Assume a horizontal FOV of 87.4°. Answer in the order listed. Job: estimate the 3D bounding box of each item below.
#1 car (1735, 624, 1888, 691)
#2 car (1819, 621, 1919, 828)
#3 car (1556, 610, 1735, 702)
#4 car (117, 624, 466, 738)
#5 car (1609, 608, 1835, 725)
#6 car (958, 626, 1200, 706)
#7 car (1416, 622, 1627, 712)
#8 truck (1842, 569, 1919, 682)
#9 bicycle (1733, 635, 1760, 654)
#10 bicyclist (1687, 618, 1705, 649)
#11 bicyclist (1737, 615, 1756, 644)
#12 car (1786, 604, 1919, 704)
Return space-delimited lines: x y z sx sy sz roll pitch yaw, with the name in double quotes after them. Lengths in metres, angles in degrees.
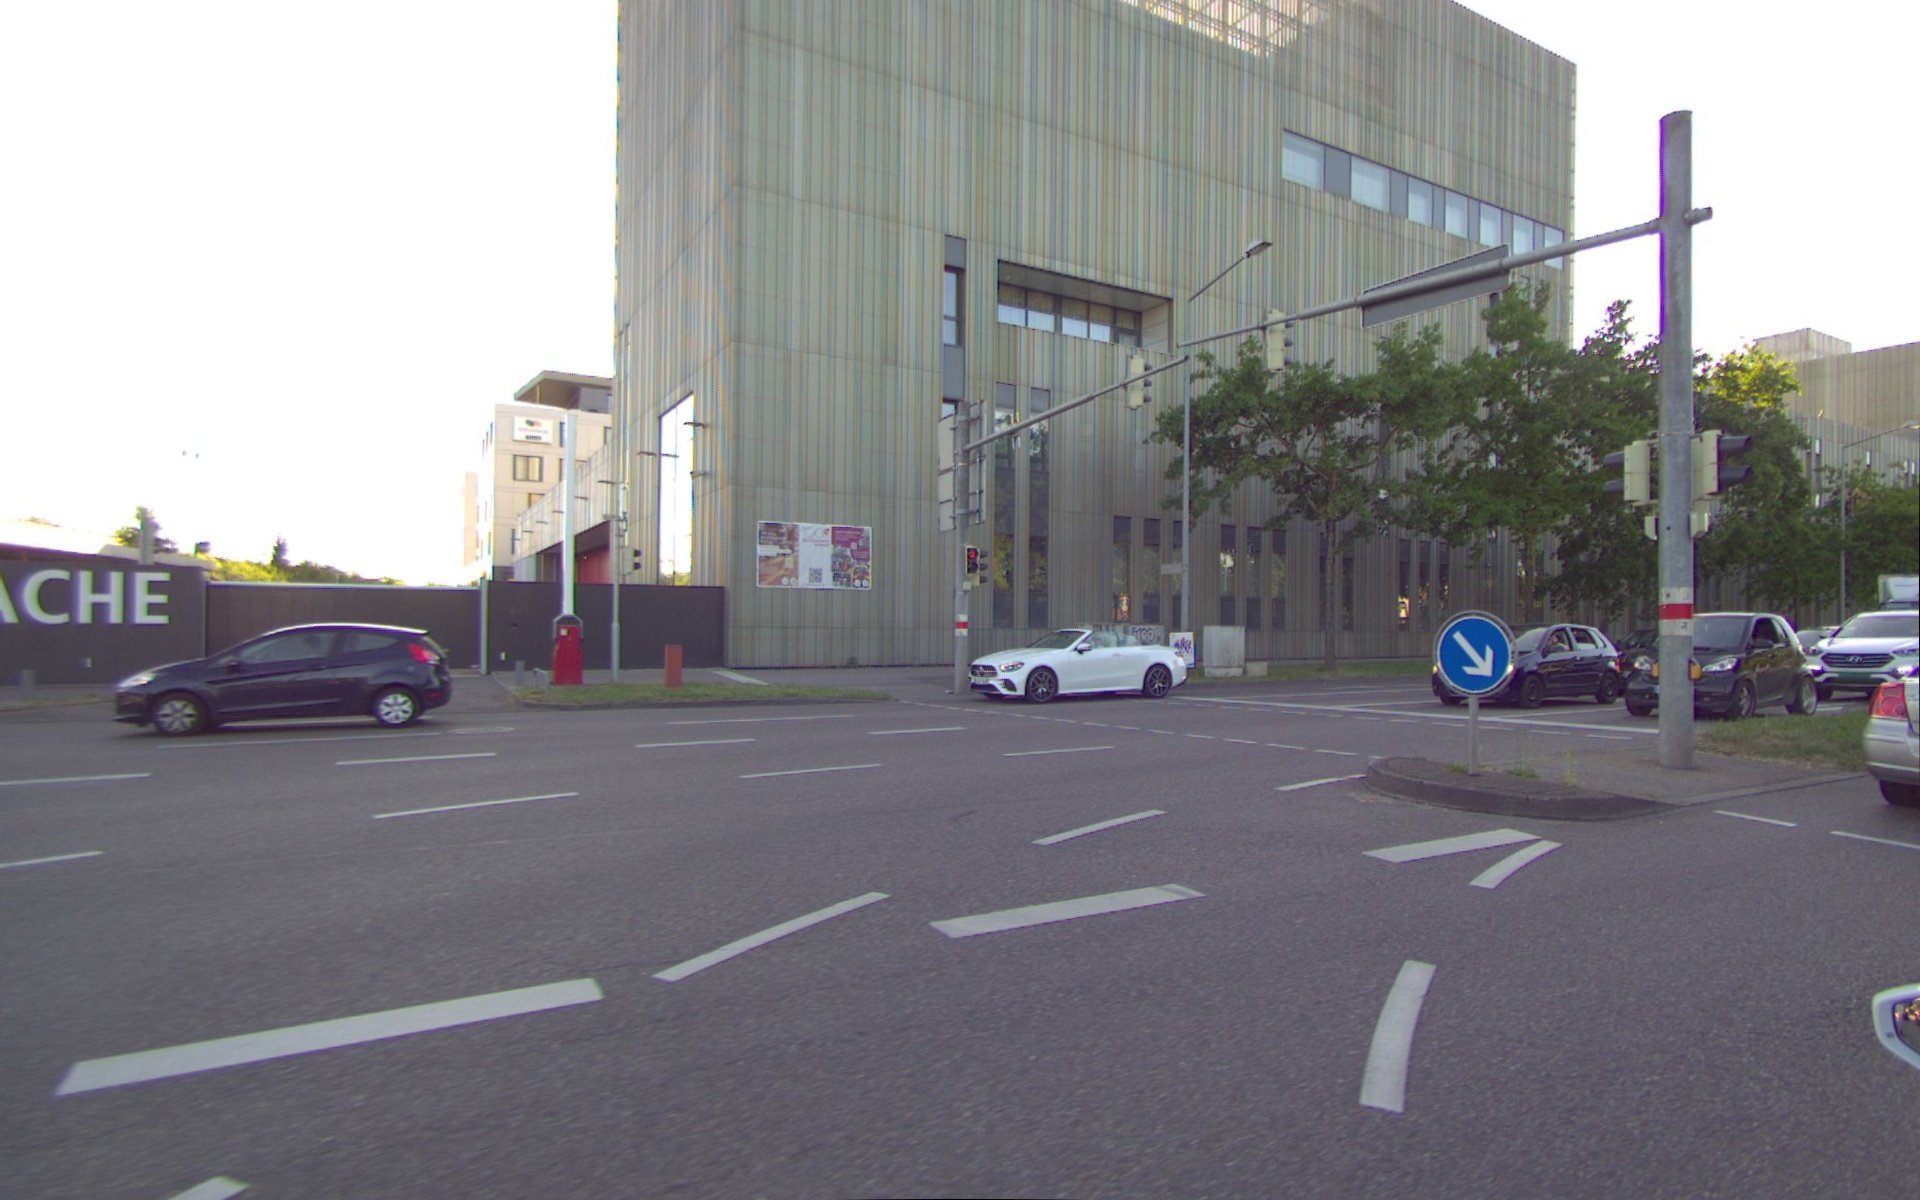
20.307 1.330 23.941 3.596 1.489 1.613 1 -3 -30 "car"
8.907 0.952 8.016 4.112 1.476 1.832 1 0 -30 "car"
14.336 1.151 20.978 3.831 1.778 1.616 2 -2 -30 "car"
-9.161 1.069 14.165 3.885 1.430 1.486 1 -2 -25 "car"
11.588 0.964 15.270 3.174 1.601 1.595 1 -2 -29 "car"
2.460 1.269 20.249 4.823 1.460 1.695 1 -2 -30 "car"
10.059 1.135 17.963 3.711 1.460 1.694 1 -2 -31 "car"
28.380 0.754 28.610 7.028 2.999 2.675 1 -3 -29 "truck"
39.557 2.222 50.517 1.734 0.902 0.509 1 -1 -31 "bicycle"
36.915 1.658 50.370 0.637 1.527 0.505 1 -1 -30 "bicyclist"
39.551 1.494 50.517 0.744 1.461 0.505 1 -1 -31 "bicyclist"
17.902 1.008 19.162 4.604 1.704 1.816 1 -3 -30 "car"
